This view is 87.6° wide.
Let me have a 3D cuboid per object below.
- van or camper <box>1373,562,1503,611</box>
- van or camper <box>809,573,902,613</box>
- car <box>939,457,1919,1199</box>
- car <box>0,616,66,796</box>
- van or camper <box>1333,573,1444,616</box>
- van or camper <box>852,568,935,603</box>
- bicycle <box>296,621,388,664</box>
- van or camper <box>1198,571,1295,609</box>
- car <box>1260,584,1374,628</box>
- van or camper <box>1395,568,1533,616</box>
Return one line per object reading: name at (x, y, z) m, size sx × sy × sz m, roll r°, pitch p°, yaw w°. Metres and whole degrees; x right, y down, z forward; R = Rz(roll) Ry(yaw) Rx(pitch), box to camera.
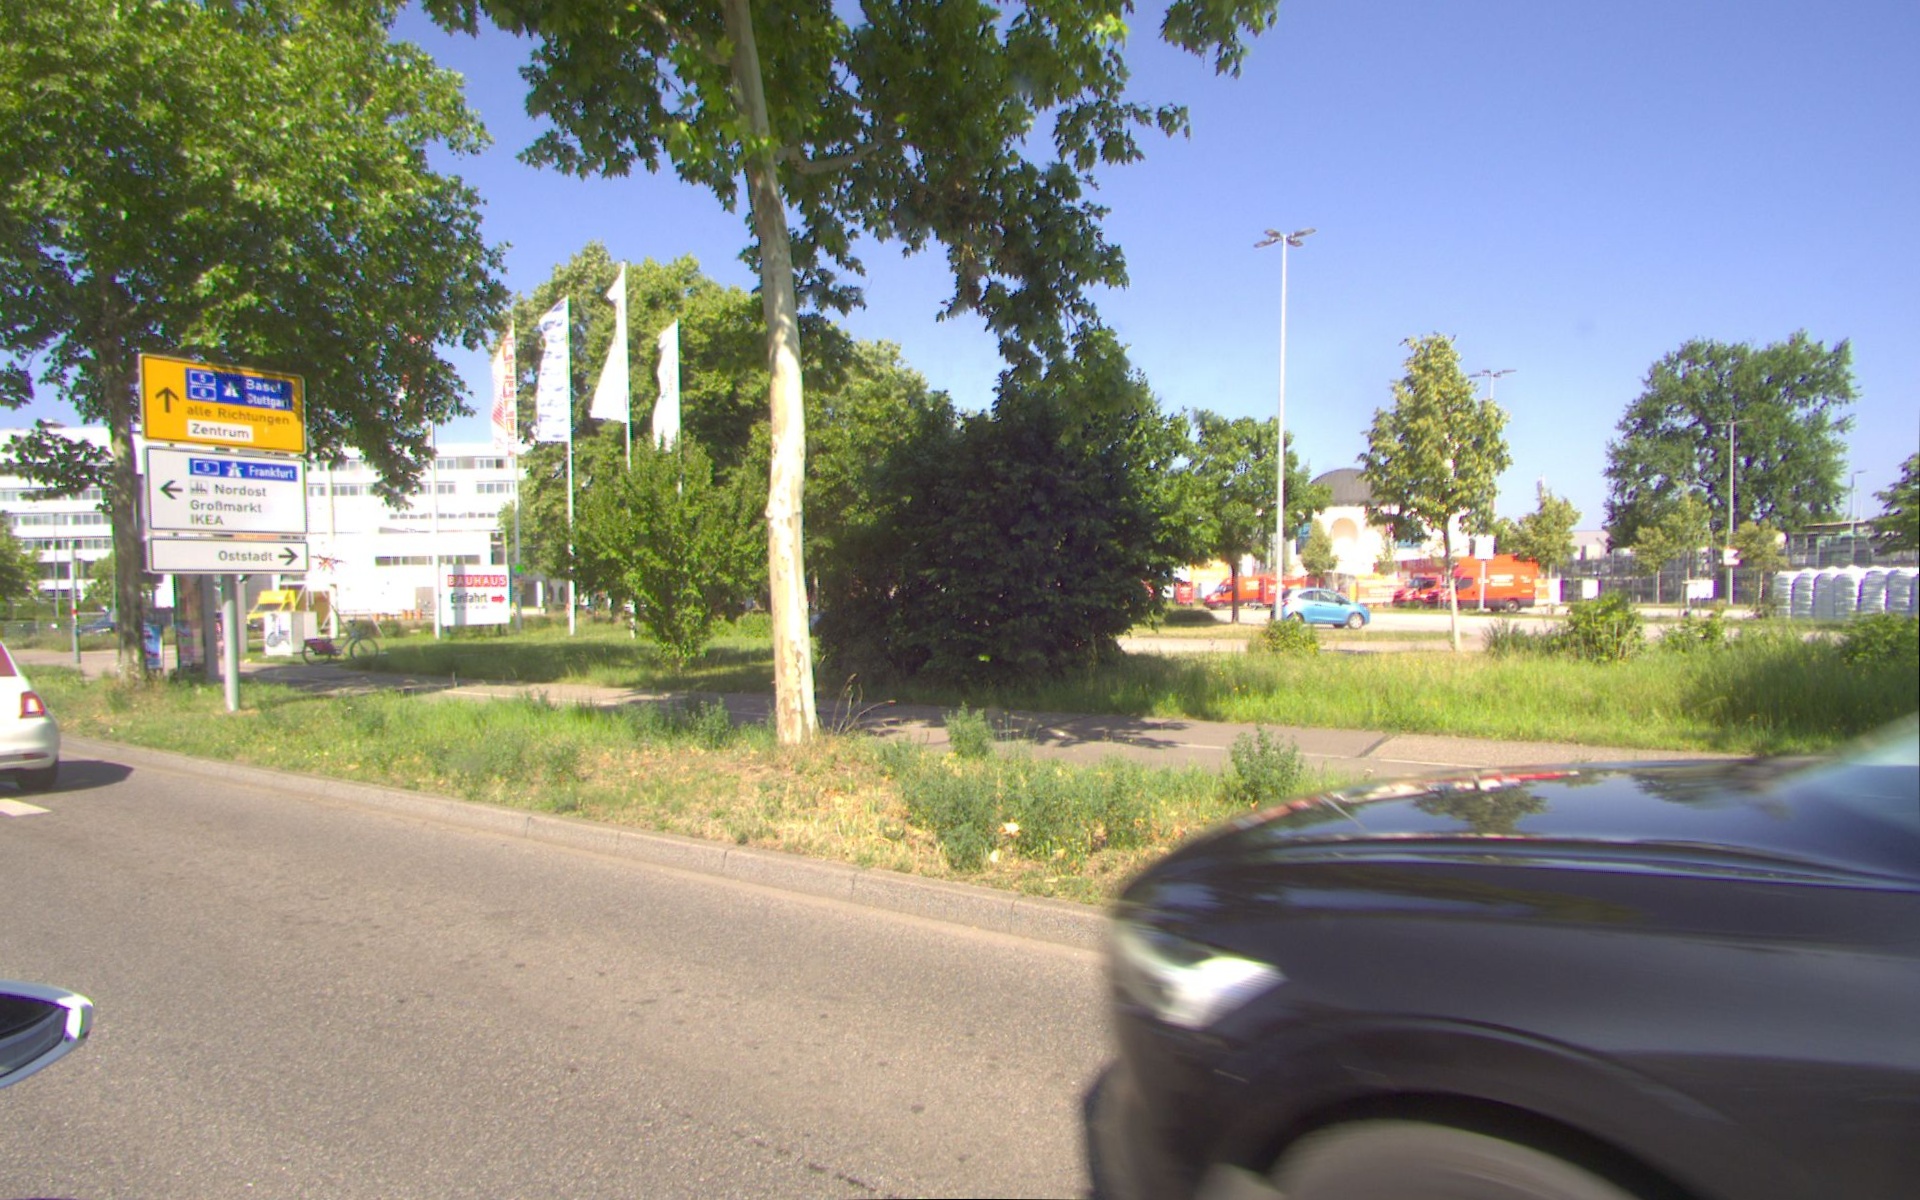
van or camper at (29.692, -0.821, 62.321) m, size 7.145 × 2.979 × 2.001 m, roll 0°, pitch -1°, yaw -2°
van or camper at (-8.144, -0.537, 78.387) m, size 7.145 × 2.979 × 2.001 m, roll 0°, pitch -1°, yaw -2°
car at (2.295, 0.659, 1.393) m, size 4.371 × 1.611 × 1.872 m, roll -1°, pitch -2°, yaw 32°
car at (-9.735, 0.928, 9.134) m, size 3.214 × 1.533 × 1.536 m, roll -1°, pitch -2°, yaw 32°
van or camper at (30.676, -0.377, 71.804) m, size 7.145 × 2.979 × 2.001 m, roll 0°, pitch -1°, yaw -2°
van or camper at (-5.798, -1.261, 87.501) m, size 7.145 × 2.979 × 2.001 m, roll 0°, pitch -1°, yaw -2°
bicycle at (-16.348, 1.107, 26.503) m, size 1.985 × 1.027 × 0.615 m, roll -1°, pitch 1°, yaw -41°
van or camper at (22.952, -0.768, 80.363) m, size 7.145 × 2.979 × 2.001 m, roll 0°, pitch -1°, yaw -2°
car at (13.162, 0.242, 37.077) m, size 3.580 × 1.561 × 1.753 m, roll 0°, pitch -2°, yaw -3°
van or camper at (29.417, -0.462, 58.570) m, size 7.145 × 2.739 × 2.001 m, roll 0°, pitch -1°, yaw -2°
